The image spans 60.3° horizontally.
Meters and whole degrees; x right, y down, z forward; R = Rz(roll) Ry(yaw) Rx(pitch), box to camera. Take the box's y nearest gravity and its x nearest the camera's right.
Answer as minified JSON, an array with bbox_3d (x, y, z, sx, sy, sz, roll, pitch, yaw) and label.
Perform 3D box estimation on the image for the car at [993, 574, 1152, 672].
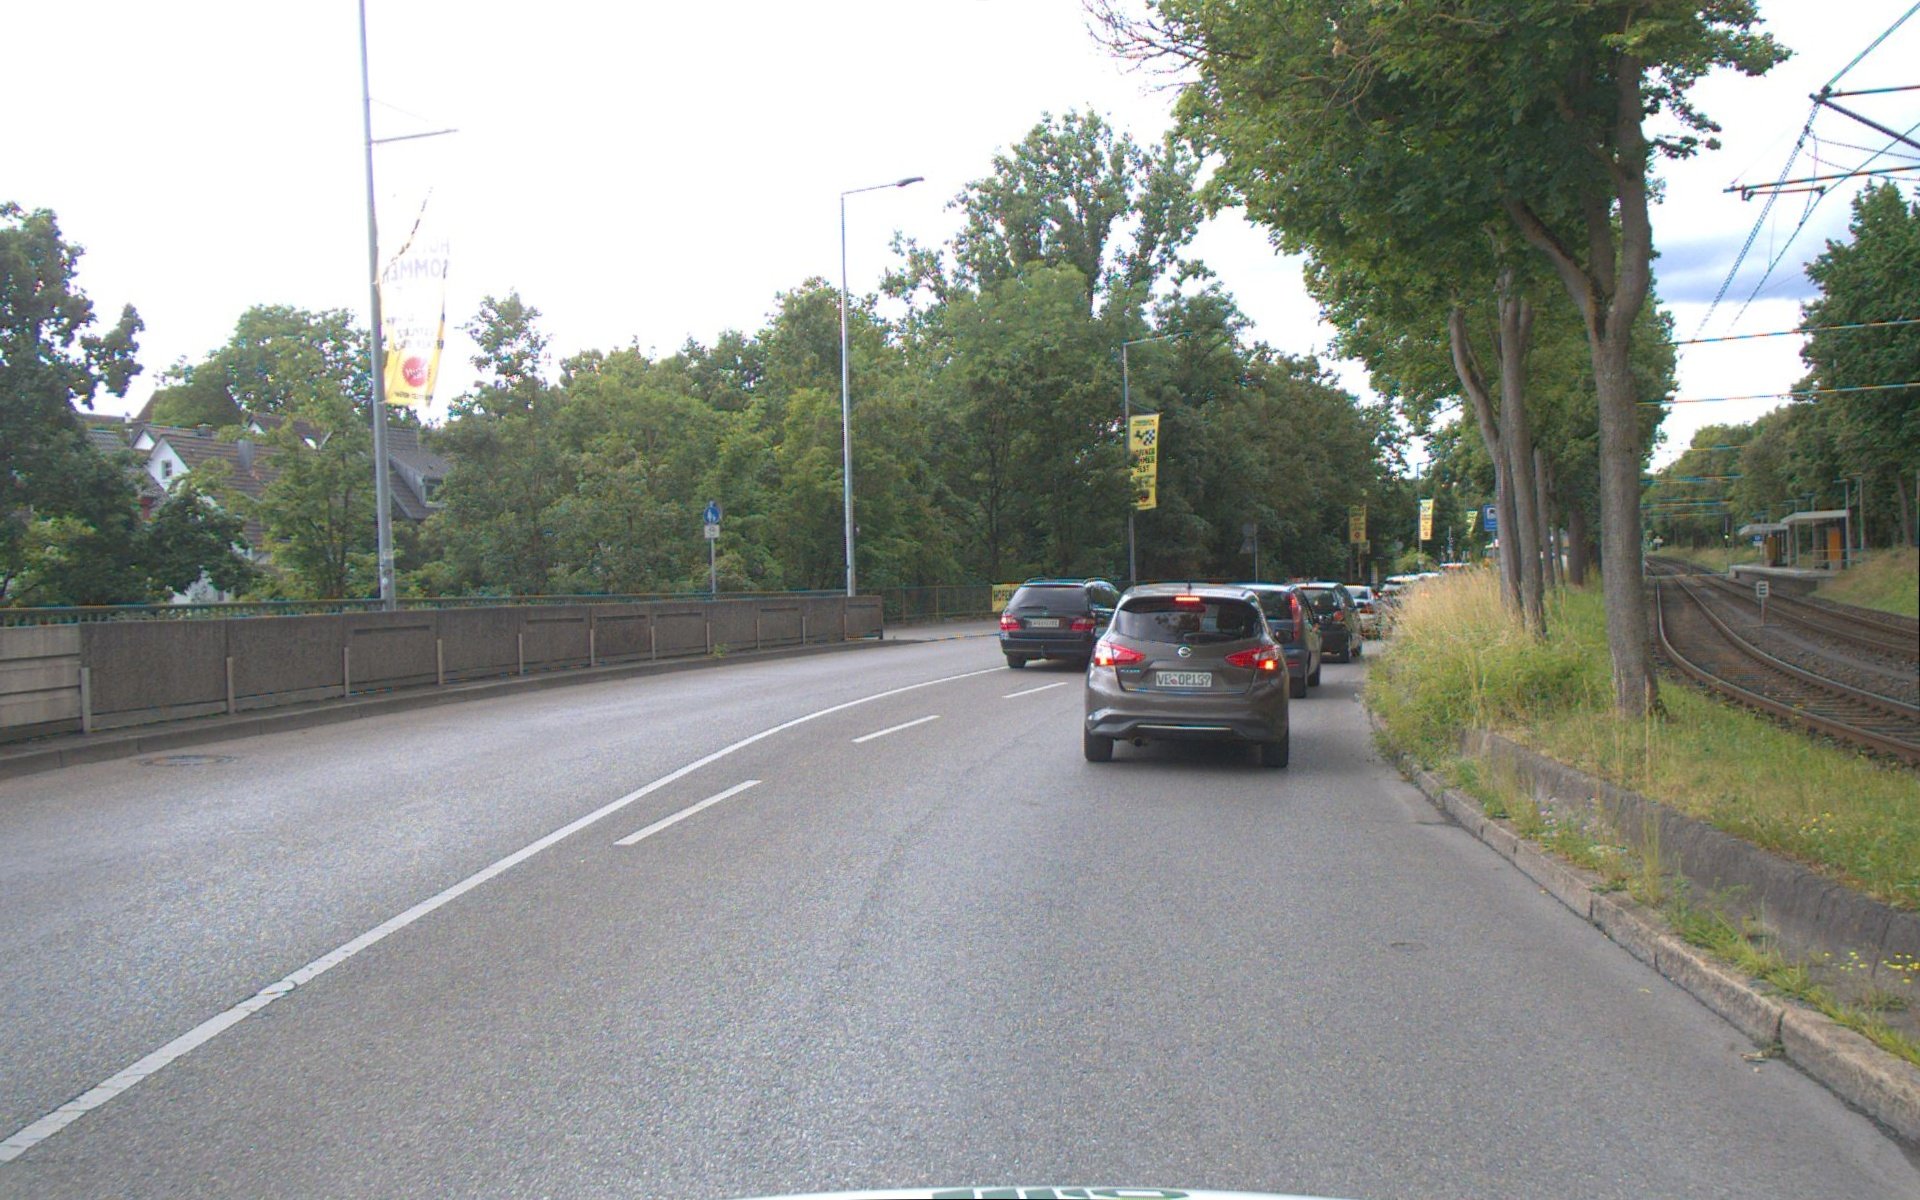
[{"bbox_3d":[2.019,0.356,28.386,1.812,1.512,4.424,1,0,16],"label":"car"}]

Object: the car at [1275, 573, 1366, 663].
[{"bbox_3d":[6.870,0.316,31.399,1.544,1.565,4.003,-2,0,13],"label":"car"}]

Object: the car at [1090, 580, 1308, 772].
[{"bbox_3d":[2.250,0.612,15.380,1.737,1.520,4.003,1,0,9],"label":"car"}]

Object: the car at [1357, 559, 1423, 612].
[{"bbox_3d":[13.511,-0.440,51.853,1.767,1.567,4.002,1,0,18],"label":"car"}]

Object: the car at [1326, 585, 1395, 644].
[{"bbox_3d":[10.026,0.339,41.282,1.468,1.388,3.589,-2,0,16],"label":"car"}]

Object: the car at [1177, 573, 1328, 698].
[{"bbox_3d":[4.224,0.470,23.449,1.852,1.601,4.003,0,0,14],"label":"car"}]
